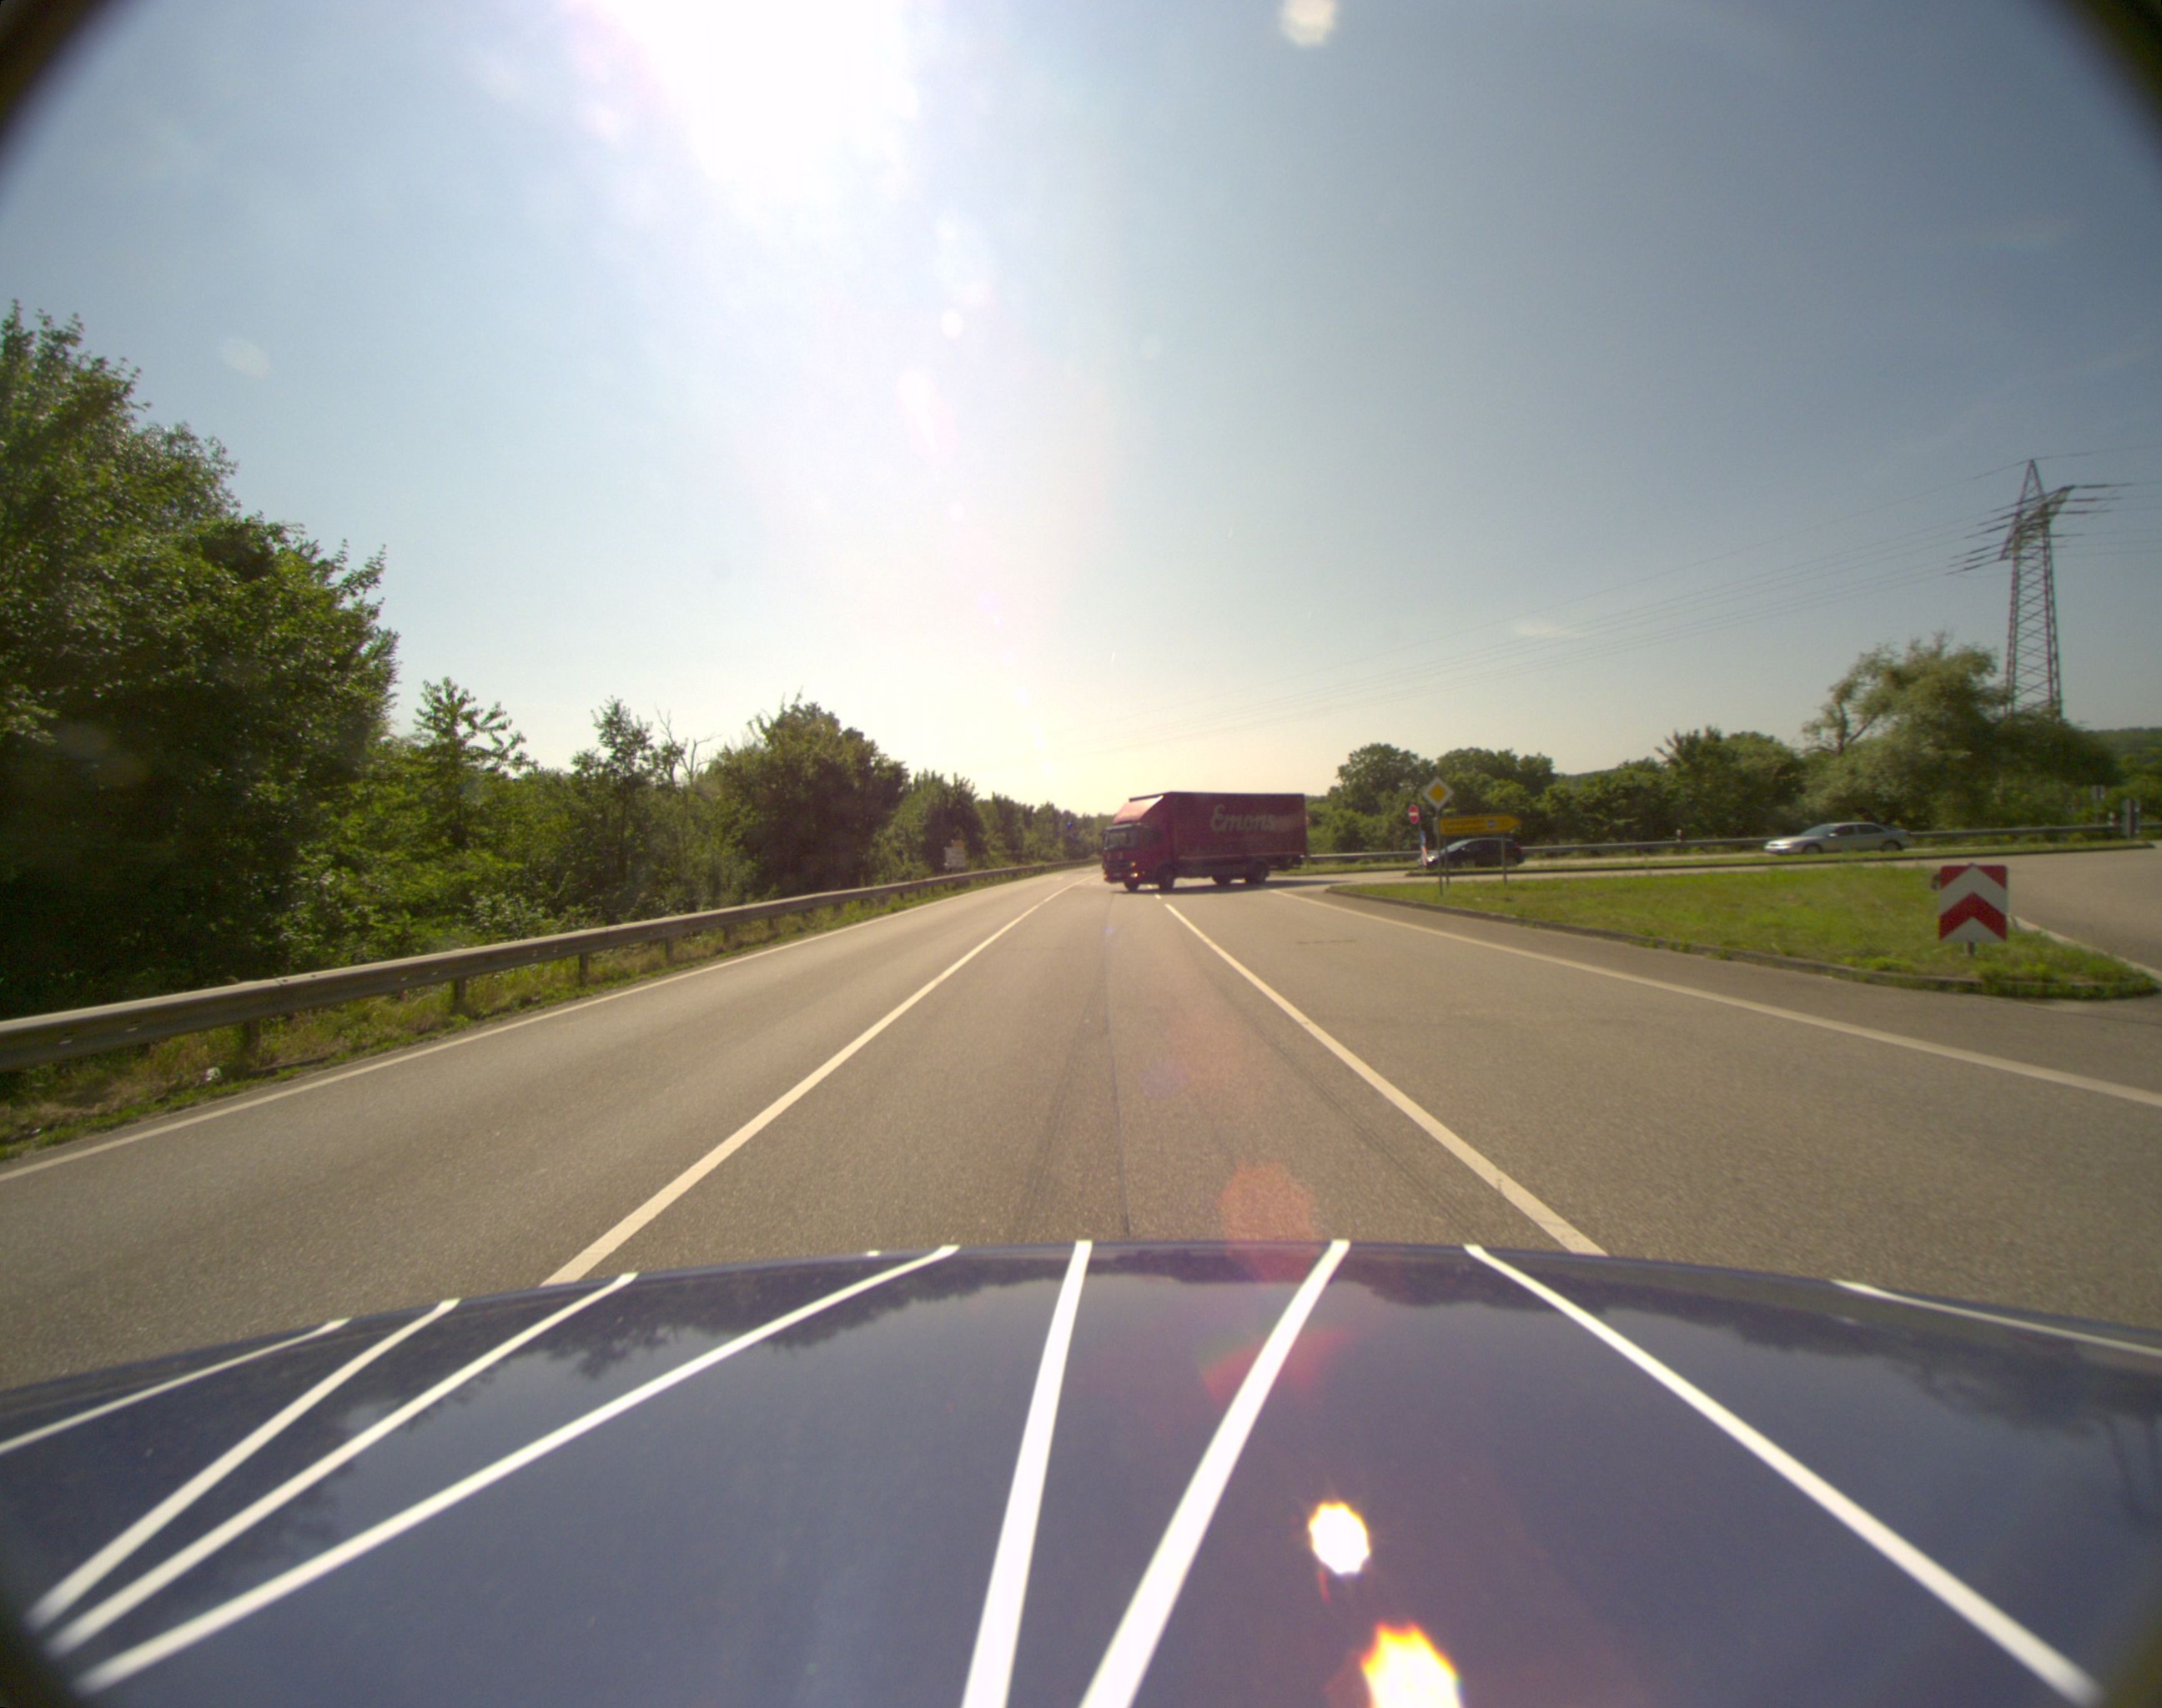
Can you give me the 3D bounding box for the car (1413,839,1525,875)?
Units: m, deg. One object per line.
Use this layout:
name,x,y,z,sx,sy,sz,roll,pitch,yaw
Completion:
car,17.138,0.126,33.701,3.995,1.406,1.789,-2,1,6

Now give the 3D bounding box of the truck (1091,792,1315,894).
truck,5.112,-0.562,30.521,9.276,3.640,2.685,-3,1,-32

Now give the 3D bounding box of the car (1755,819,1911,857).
car,31.537,-0.665,31.996,4.371,1.377,1.790,-2,1,13
